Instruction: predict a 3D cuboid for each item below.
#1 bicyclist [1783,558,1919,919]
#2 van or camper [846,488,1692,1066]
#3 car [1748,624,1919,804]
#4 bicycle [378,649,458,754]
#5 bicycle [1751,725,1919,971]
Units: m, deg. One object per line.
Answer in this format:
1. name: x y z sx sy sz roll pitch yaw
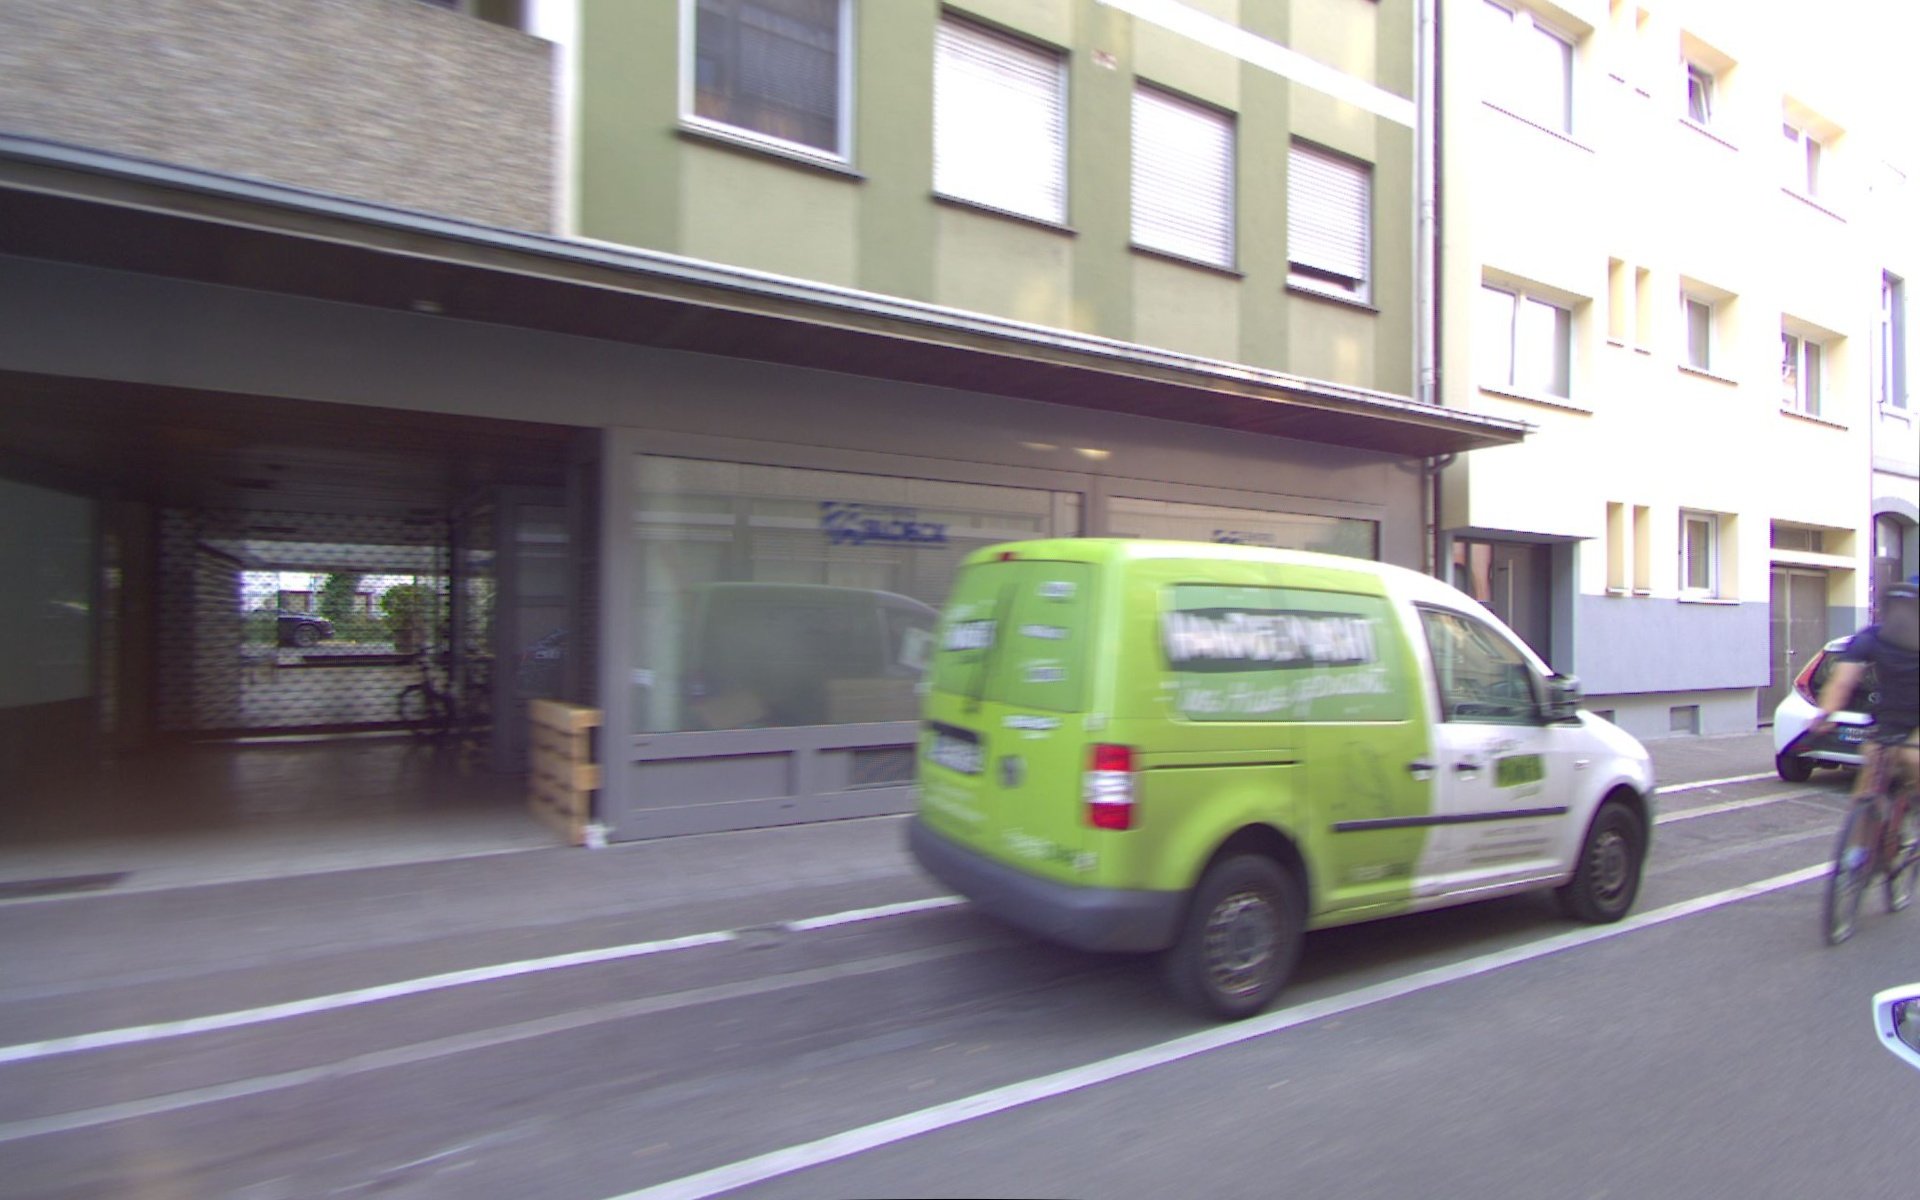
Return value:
1. bicyclist: 4.785 0.649 5.088 1.069 1.661 0.620 1 -1 -30
2. van or camper: 1.672 0.630 5.076 4.129 1.872 1.764 1 -2 -30
3. car: 9.577 1.043 9.916 3.480 1.468 1.653 1 2 -31
4. bicycle: -5.715 1.018 10.546 0.493 0.952 1.682 1 -1 -36
5. bicycle: 4.780 1.167 5.082 1.758 0.934 0.631 1 -1 -31
